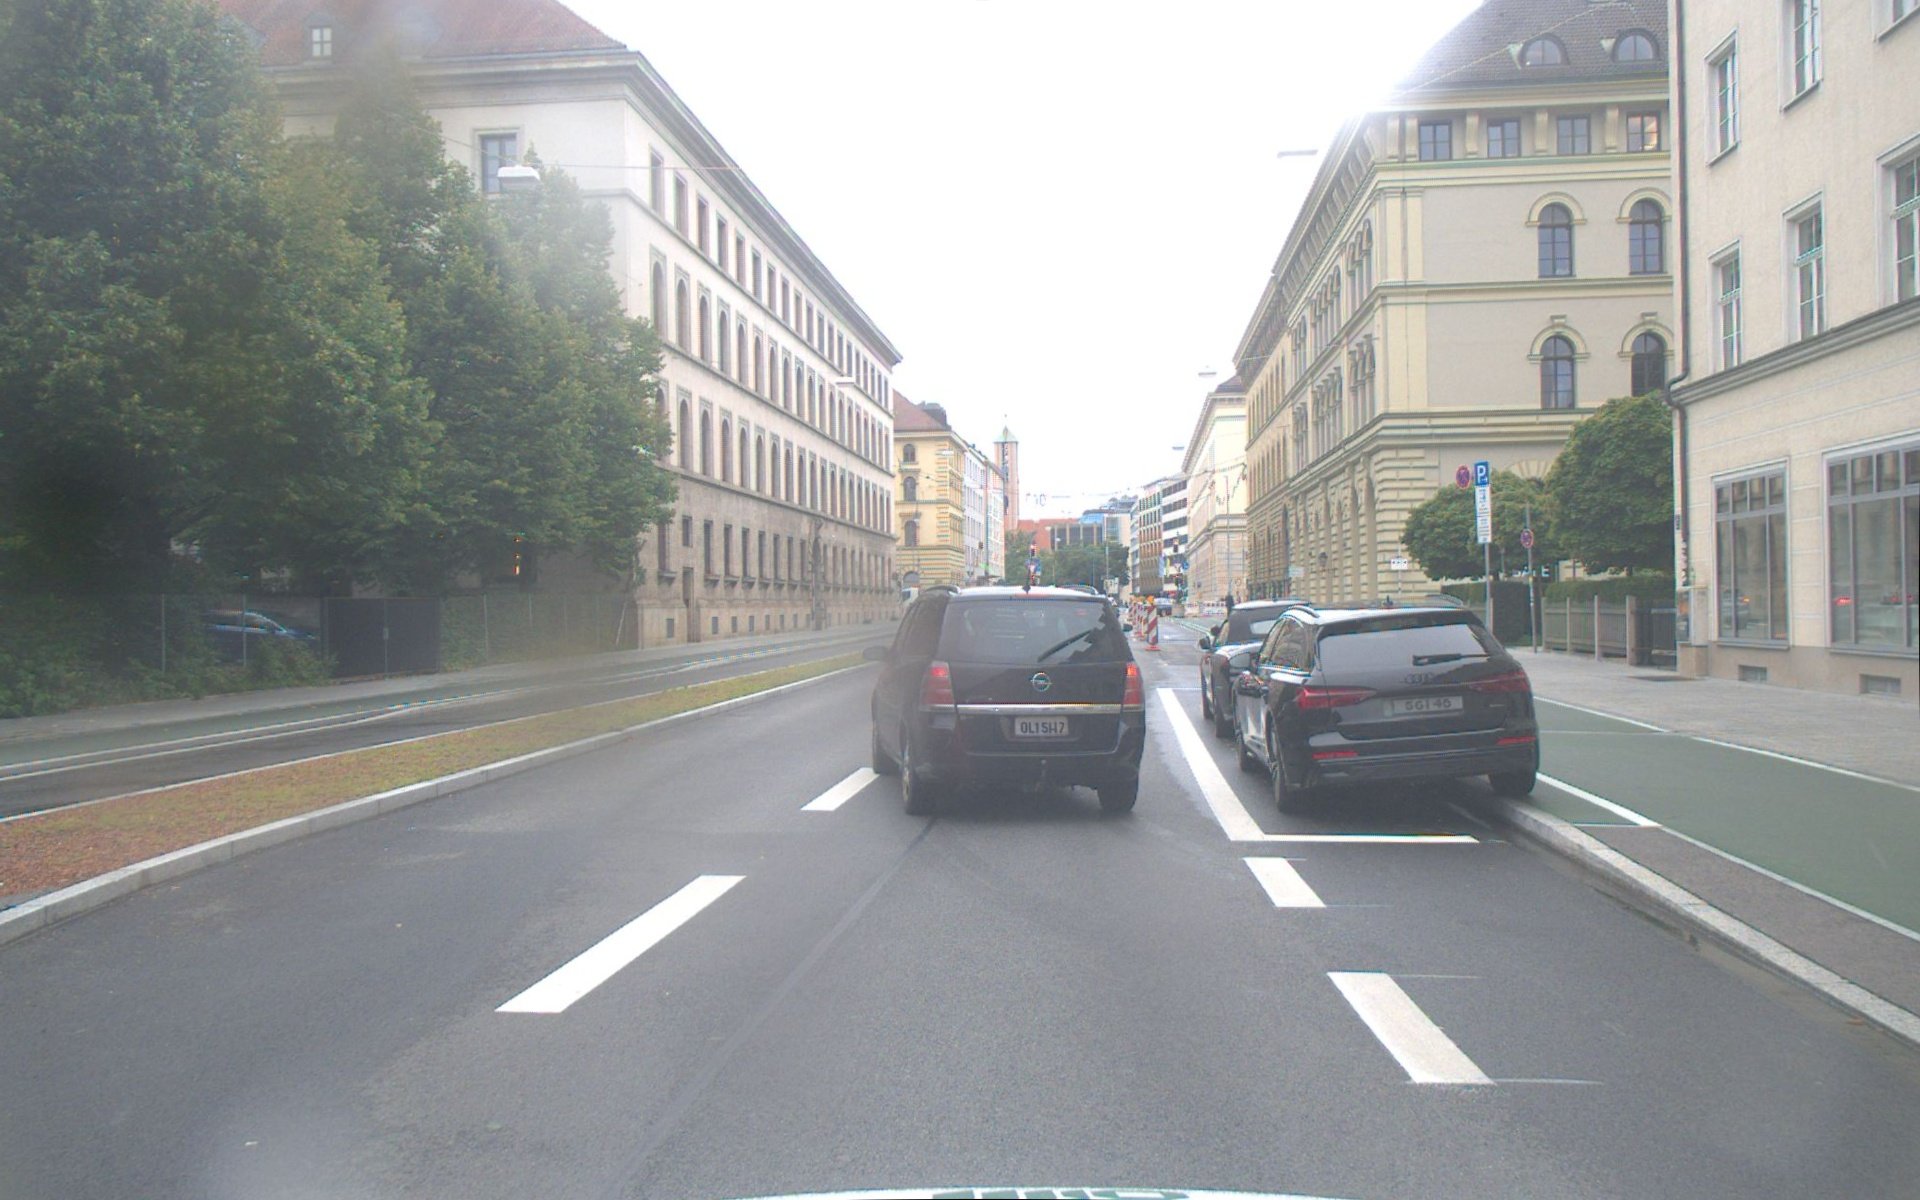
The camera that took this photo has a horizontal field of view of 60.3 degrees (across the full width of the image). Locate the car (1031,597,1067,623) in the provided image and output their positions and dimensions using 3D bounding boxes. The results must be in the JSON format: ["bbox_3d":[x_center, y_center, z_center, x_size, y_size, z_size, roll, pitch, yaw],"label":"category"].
[{"bbox_3d":[5.369,0.577,99.308,1.951,1.469,4.003,-1,0,6],"label":"car"}]

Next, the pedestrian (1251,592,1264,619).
[{"bbox_3d":[18.328,0.354,101.998,0.695,1.646,0.755,-1,0,5],"label":"pedestrian"}]

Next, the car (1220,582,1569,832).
[{"bbox_3d":[3.213,0.703,13.152,1.771,1.506,4.464,-5,0,4],"label":"car"}]

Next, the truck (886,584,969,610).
[{"bbox_3d":[-2.922,-0.272,148.855,7.229,2.292,2.181,1,0,8],"label":"truck"}]

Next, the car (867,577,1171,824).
[{"bbox_3d":[0.298,0.658,13.109,1.732,1.644,4.022,0,0,-8],"label":"car"}]

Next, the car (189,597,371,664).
[{"bbox_3d":[-18.491,0.810,45.054,4.172,1.678,1.806,-1,0,6],"label":"car"}]

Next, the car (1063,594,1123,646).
[{"bbox_3d":[4.002,0.563,49.303,1.693,1.486,4.003,0,0,5],"label":"car"}]

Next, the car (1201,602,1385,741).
[{"bbox_3d":[3.858,0.759,19.859,1.787,1.432,4.723,0,0,7],"label":"car"}]

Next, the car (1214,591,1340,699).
[{"bbox_3d":[4.848,0.635,25.700,1.639,1.547,3.832,0,0,7],"label":"car"}]

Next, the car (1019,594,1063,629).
[{"bbox_3d":[4.017,0.558,81.500,1.951,1.656,4.003,-1,0,6],"label":"car"}]

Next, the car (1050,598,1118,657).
[{"bbox_3d":[3.265,0.673,42.990,1.693,1.427,4.003,0,0,5],"label":"car"}]

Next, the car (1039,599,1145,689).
[{"bbox_3d":[2.307,0.702,28.560,1.693,1.427,4.003,0,0,5],"label":"car"}]
